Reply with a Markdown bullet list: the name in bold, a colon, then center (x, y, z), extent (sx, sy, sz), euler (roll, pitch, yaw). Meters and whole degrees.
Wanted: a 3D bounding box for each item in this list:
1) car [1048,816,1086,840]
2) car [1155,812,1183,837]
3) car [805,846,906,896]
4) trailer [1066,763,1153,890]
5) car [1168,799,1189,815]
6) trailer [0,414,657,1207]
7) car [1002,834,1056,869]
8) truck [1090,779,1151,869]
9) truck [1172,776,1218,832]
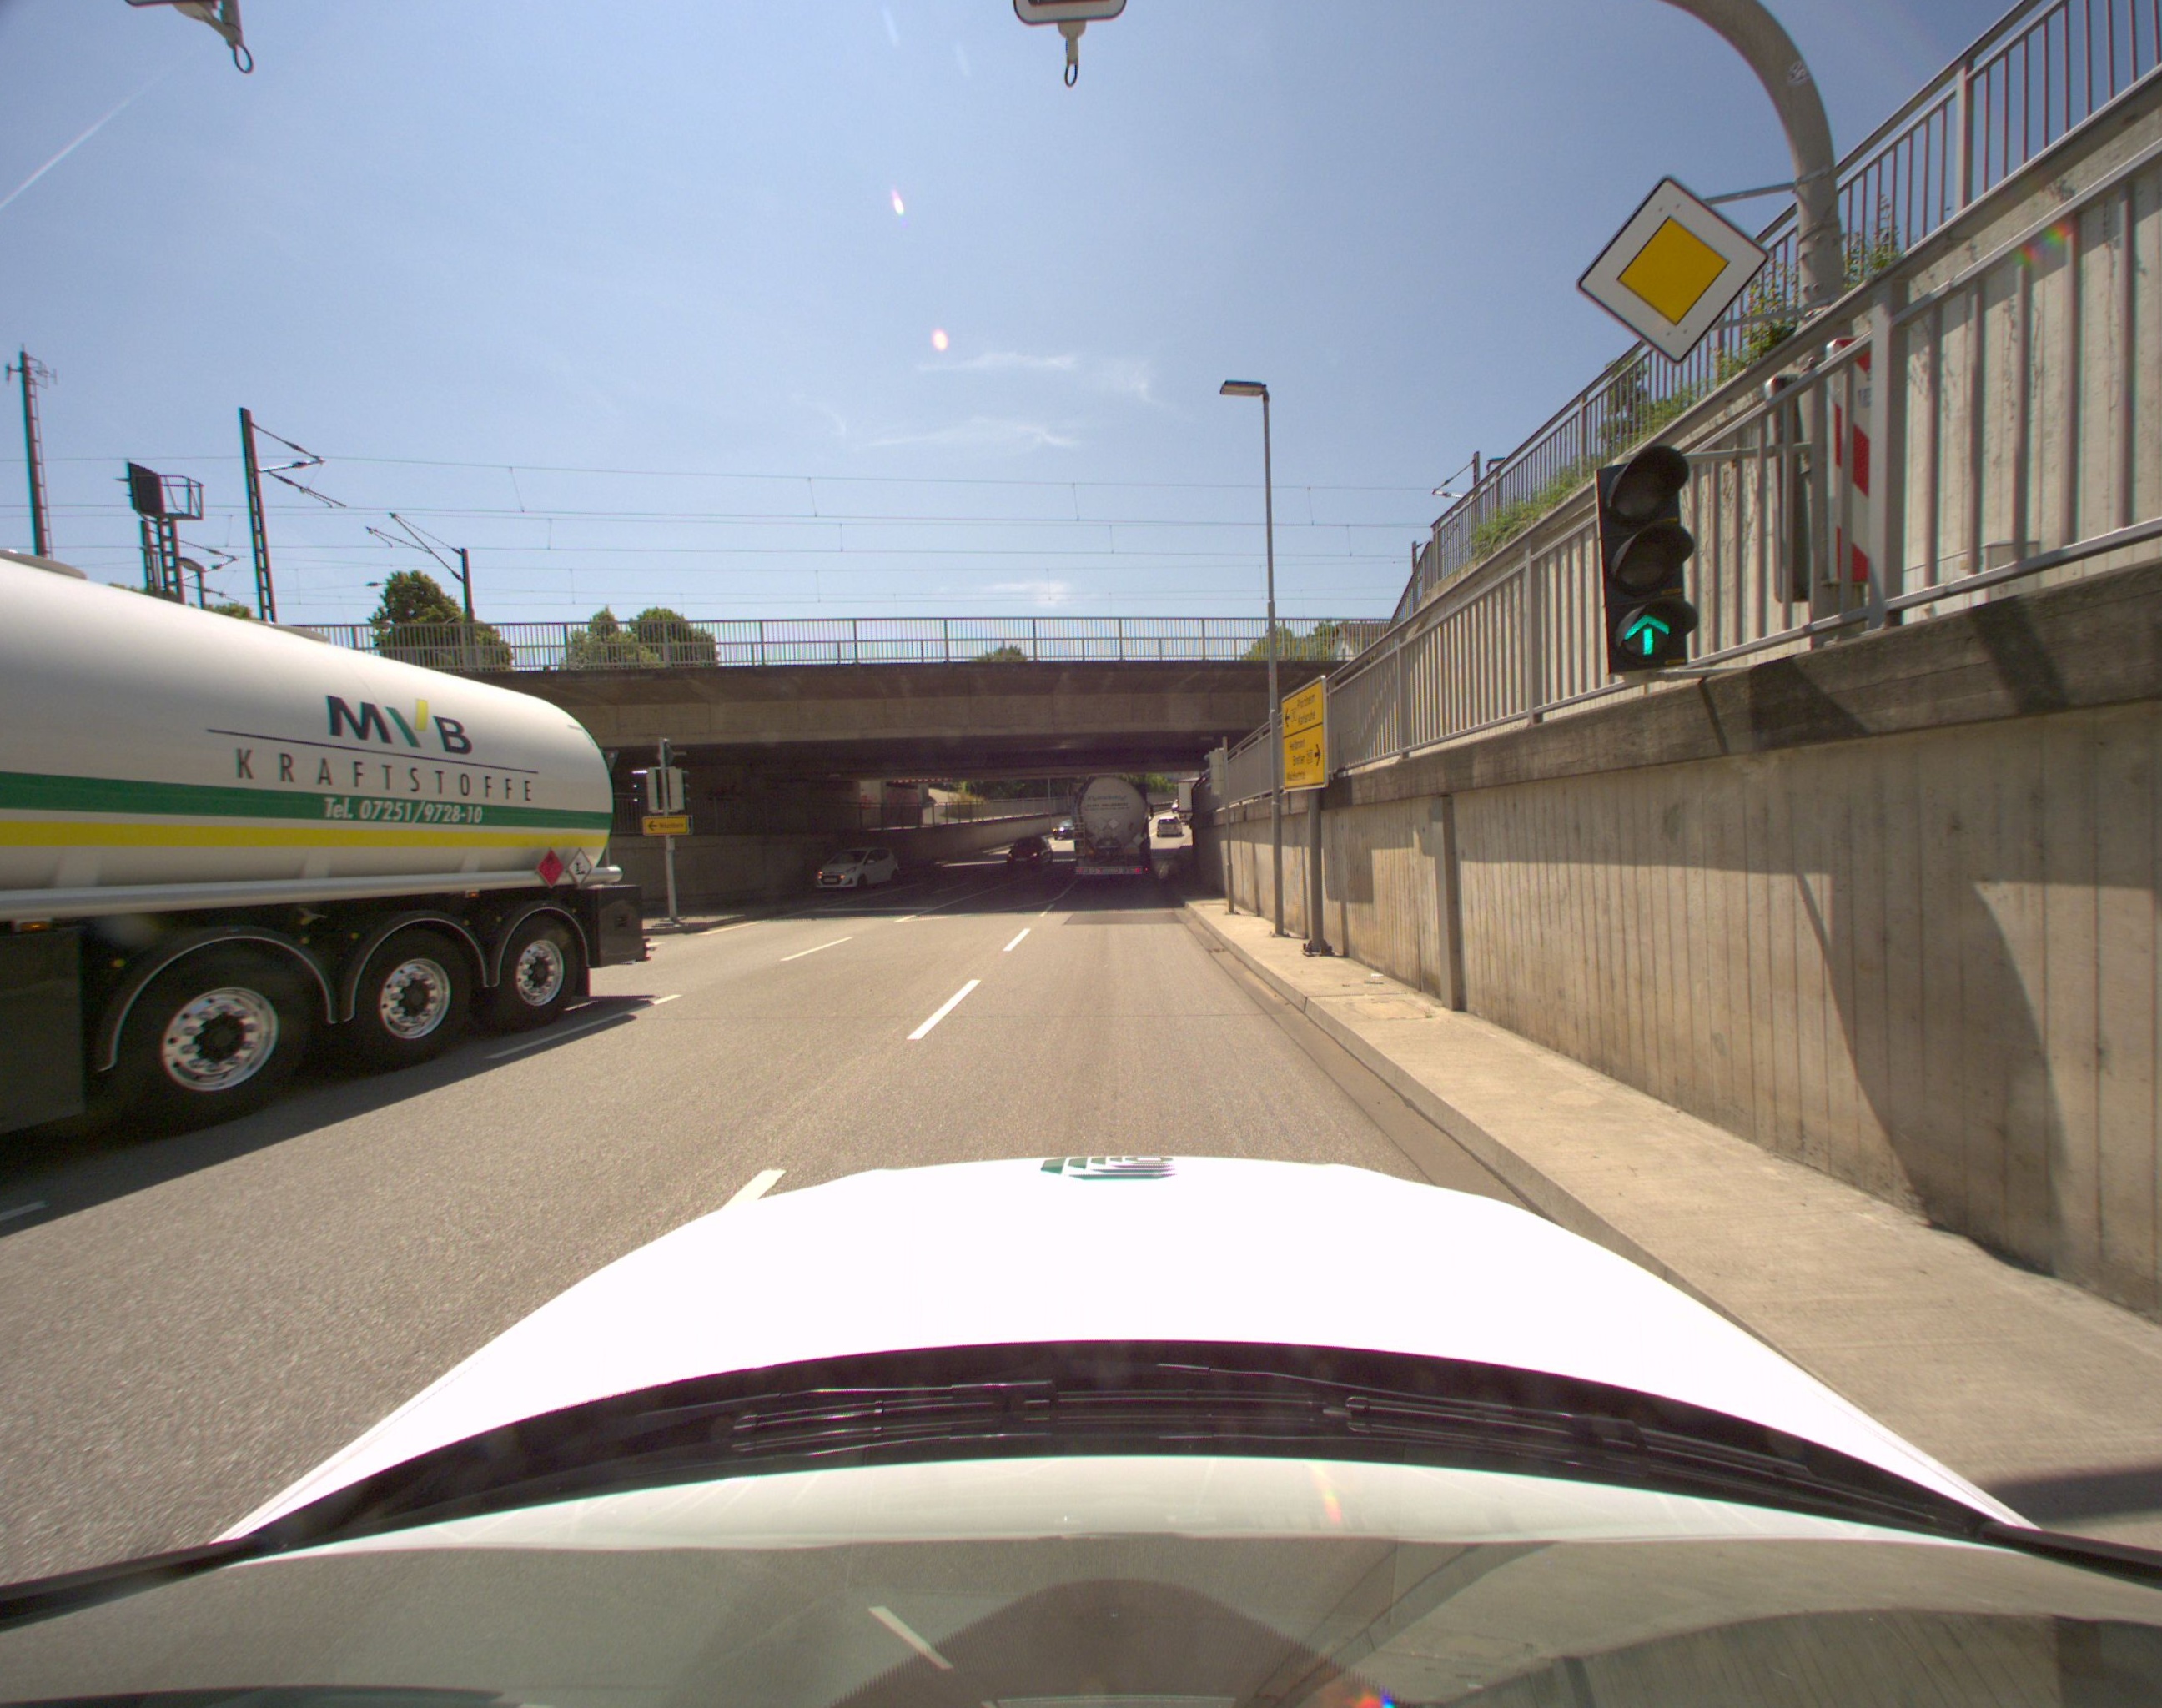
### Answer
- **car**: center (-1.030, -2.038, 63.336), extent (1.884, 1.529, 4.017), euler (-3, 4, 13)
- **car**: center (6.813, -2.289, 62.791), extent (1.871, 1.638, 4.013), euler (-1, 6, 10)
- **car**: center (-8.192, 0.575, 29.944), extent (1.767, 1.466, 3.849), euler (-3, 2, 15)
- **trailer**: center (1.465, -1.171, 33.223), extent (2.722, 4.063, 13.333), euler (-2, 2, 5)
- **car**: center (11.459, -5.573, 95.529), extent (1.779, 1.682, 4.019), euler (1, 6, 15)
- **trailer**: center (-6.313, -0.191, 4.110), extent (2.678, 3.663, 9.896), euler (-1, 0, 3)
- **car**: center (-2.504, -0.155, 40.166), extent (1.732, 1.464, 3.837), euler (-1, 3, 11)
- **truck**: center (2.058, -1.519, 40.592), extent (2.722, 4.063, 6.539), euler (-2, 2, 4)
- **truck**: center (11.140, -4.925, 78.465), extent (3.058, 4.997, 10.128), euler (0, 4, 15)
